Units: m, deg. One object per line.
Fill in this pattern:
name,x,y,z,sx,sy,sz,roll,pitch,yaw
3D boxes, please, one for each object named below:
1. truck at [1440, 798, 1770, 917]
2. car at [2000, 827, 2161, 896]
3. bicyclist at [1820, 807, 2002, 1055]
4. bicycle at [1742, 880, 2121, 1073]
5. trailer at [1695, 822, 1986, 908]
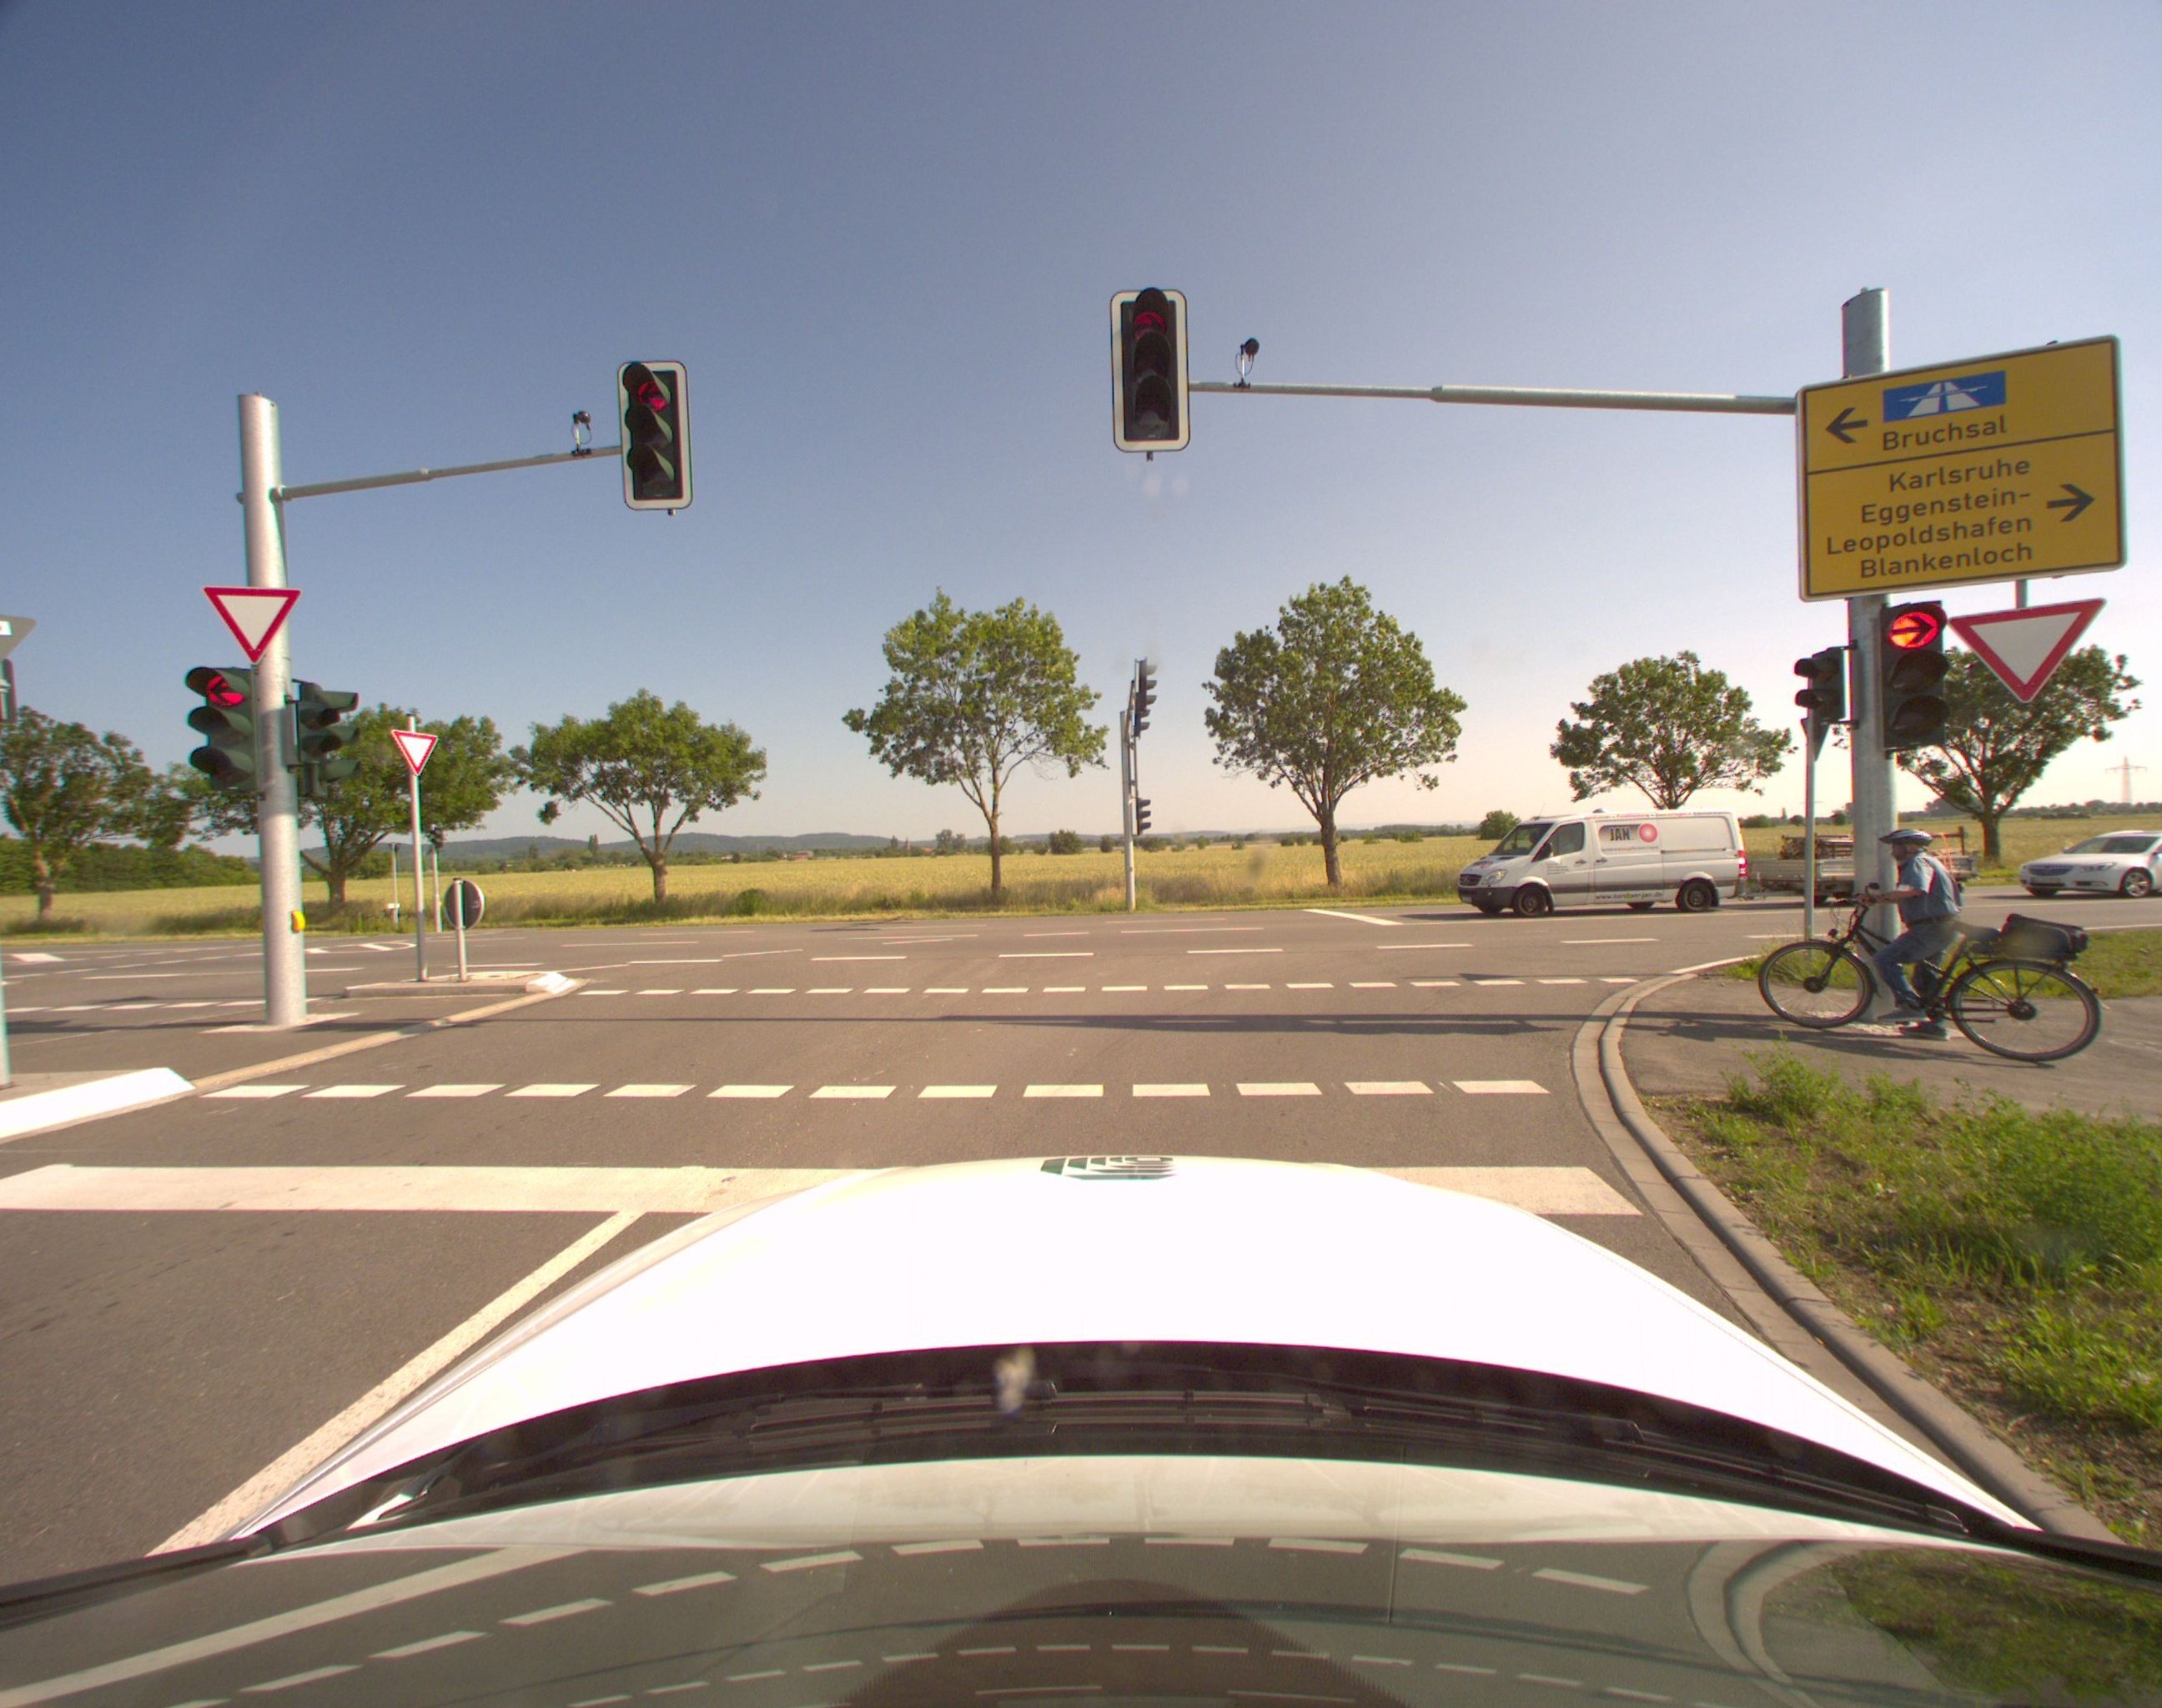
truck,11.788,0.090,18.660,6.157,2.405,2.071,-2,-1,0
car,24.673,0.129,18.987,4.682,1.492,1.763,-2,-1,-3
bicyclist,6.396,0.532,6.312,0.623,1.765,0.906,0,1,-44
bicycle,6.421,0.837,6.305,0.685,1.151,1.922,0,2,-44
trailer,17.370,0.245,18.800,4.983,1.738,1.979,-2,-1,-3
